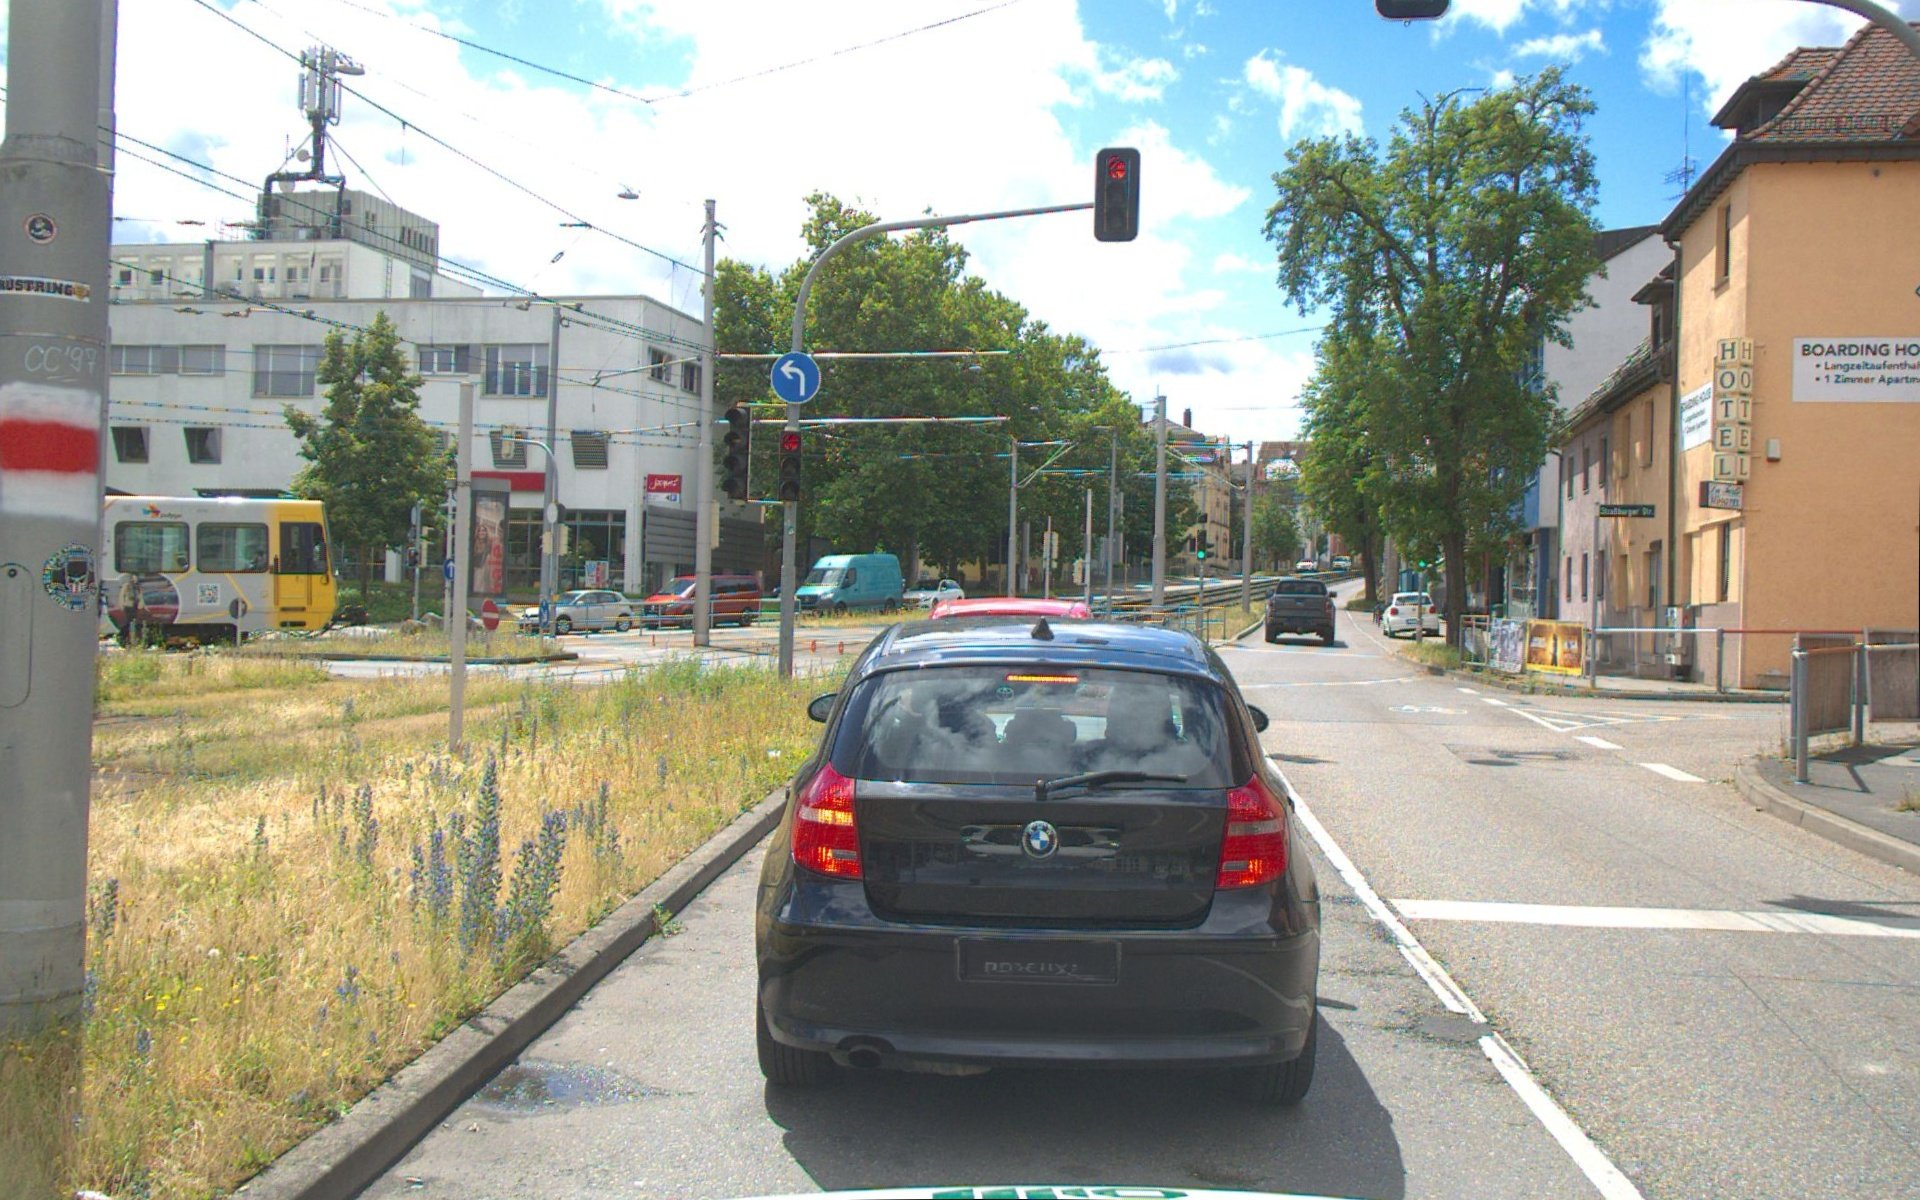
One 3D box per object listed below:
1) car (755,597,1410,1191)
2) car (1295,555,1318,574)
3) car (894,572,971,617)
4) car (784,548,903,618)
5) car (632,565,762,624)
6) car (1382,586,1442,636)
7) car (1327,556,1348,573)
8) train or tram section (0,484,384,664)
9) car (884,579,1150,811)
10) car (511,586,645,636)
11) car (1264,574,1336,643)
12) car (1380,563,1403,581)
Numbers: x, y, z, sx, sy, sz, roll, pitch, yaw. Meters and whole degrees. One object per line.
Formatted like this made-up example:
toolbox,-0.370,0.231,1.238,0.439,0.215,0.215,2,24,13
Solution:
car,0.217,0.758,6.197,1.667,1.477,3.997,0,-1,-3
car,39.435,-4.027,188.392,1.952,2.049,4.000,-1,-1,21
car,-1.205,-0.225,74.364,1.814,1.962,4.798,-1,-1,21
car,-4.686,-0.637,67.691,2.090,2.701,5.680,-1,-1,29
car,-9.484,-0.161,59.962,1.822,2.044,4.777,-1,-1,37
car,15.320,0.377,56.154,1.749,1.624,4.003,0,-1,12
car,47.439,-4.443,207.818,1.952,2.049,4.000,-1,-1,21
train or tram section,-23.314,-0.539,36.670,19.726,3.881,3.732,0,-1,-25
car,0.588,0.639,12.770,1.590,1.499,4.003,0,-1,9
car,-12.754,0.365,55.433,1.824,1.613,4.147,-1,-1,40
car,10.104,0.273,49.124,1.956,1.920,5.154,0,-1,12
car,42.001,-2.713,160.982,1.951,1.691,4.002,-1,-1,17
